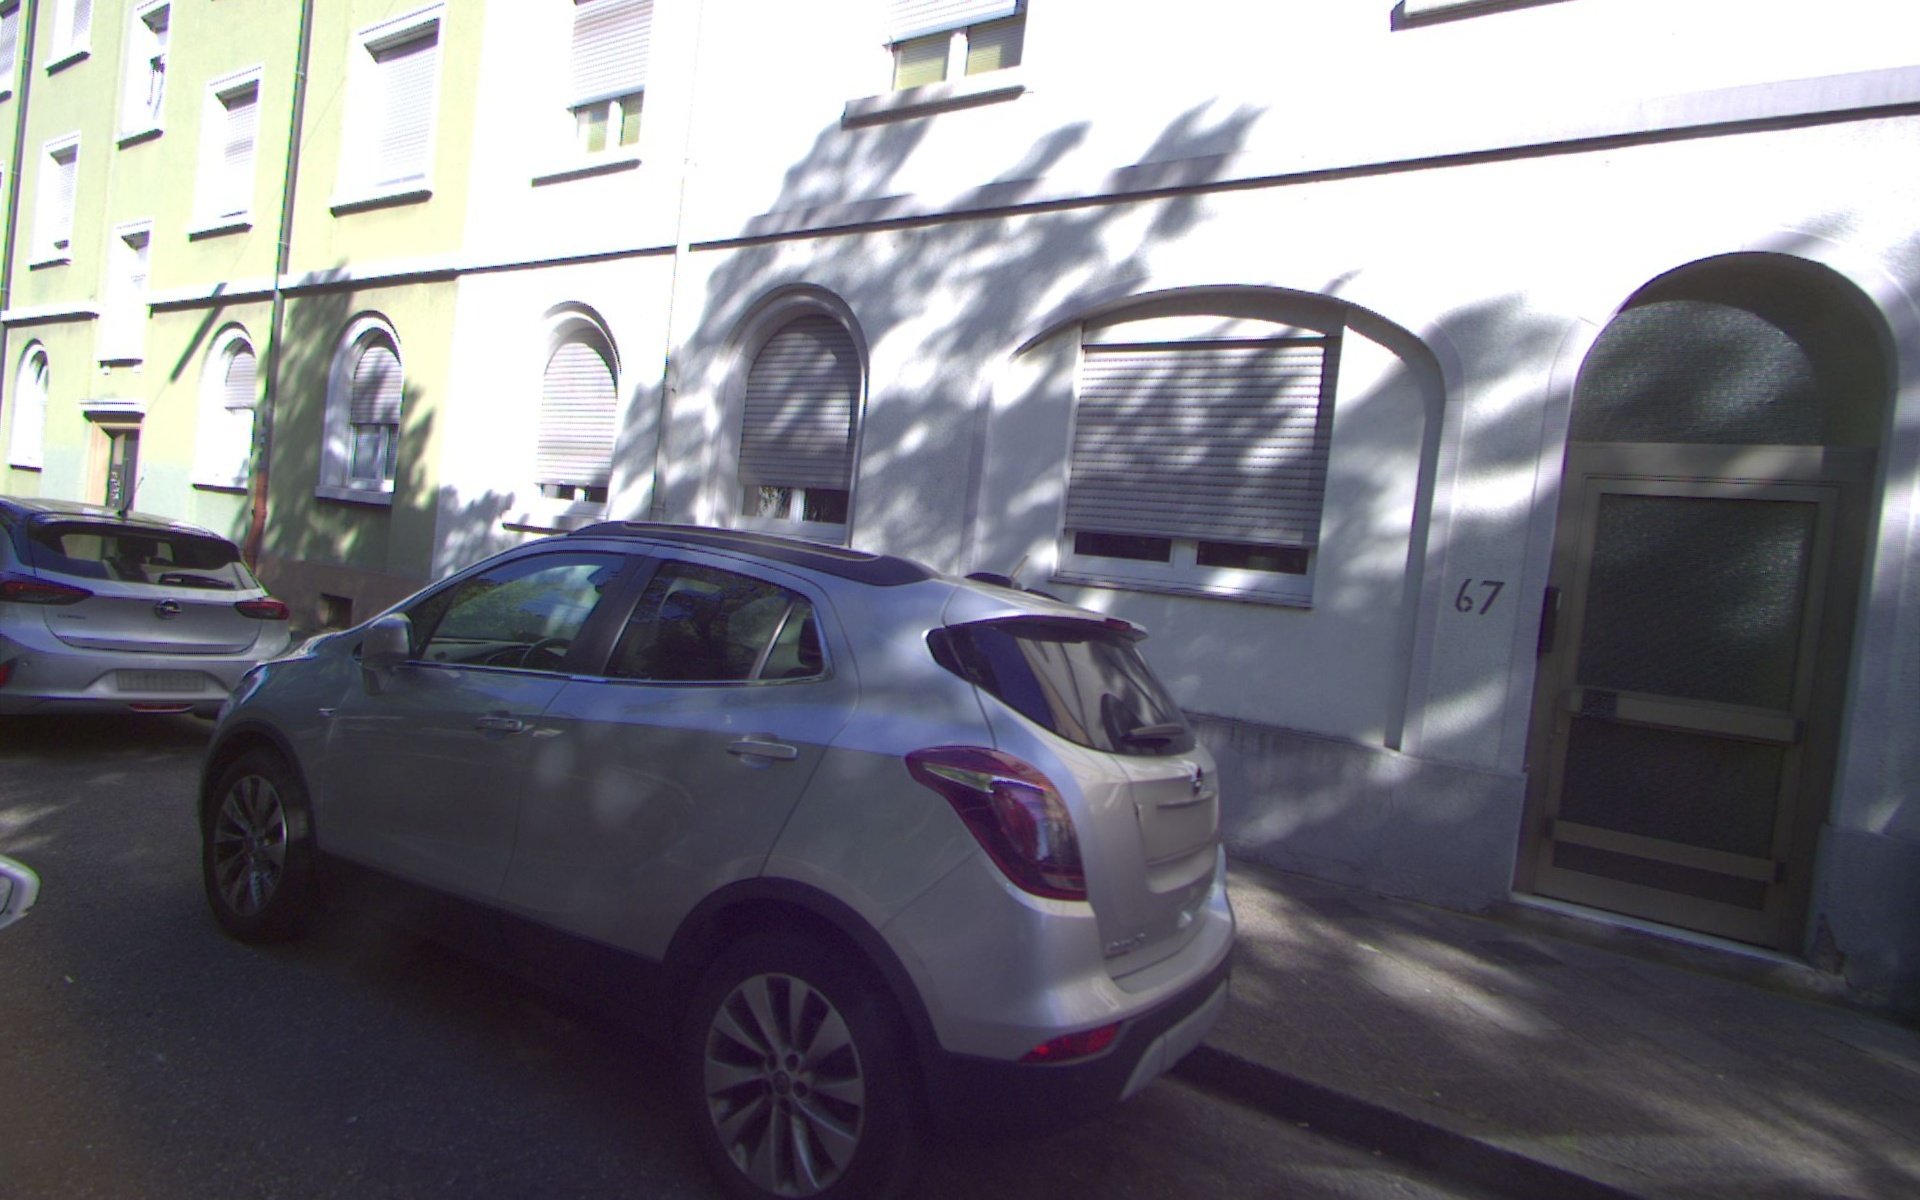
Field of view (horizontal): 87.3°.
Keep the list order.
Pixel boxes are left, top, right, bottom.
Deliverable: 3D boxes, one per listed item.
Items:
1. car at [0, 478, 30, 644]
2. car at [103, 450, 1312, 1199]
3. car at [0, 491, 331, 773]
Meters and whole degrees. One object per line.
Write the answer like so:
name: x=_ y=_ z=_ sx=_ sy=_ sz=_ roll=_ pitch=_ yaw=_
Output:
car: x=-11.093 y=-0.620 z=9.831 sx=4.087 sy=1.547 sz=1.725 roll=7 pitch=1 yaw=30
car: x=-1.085 y=0.538 z=3.674 sx=4.087 sy=1.707 sz=1.725 roll=7 pitch=1 yaw=29
car: x=-6.377 y=0.024 z=6.953 sx=4.089 sy=1.450 sz=1.724 roll=7 pitch=1 yaw=32
